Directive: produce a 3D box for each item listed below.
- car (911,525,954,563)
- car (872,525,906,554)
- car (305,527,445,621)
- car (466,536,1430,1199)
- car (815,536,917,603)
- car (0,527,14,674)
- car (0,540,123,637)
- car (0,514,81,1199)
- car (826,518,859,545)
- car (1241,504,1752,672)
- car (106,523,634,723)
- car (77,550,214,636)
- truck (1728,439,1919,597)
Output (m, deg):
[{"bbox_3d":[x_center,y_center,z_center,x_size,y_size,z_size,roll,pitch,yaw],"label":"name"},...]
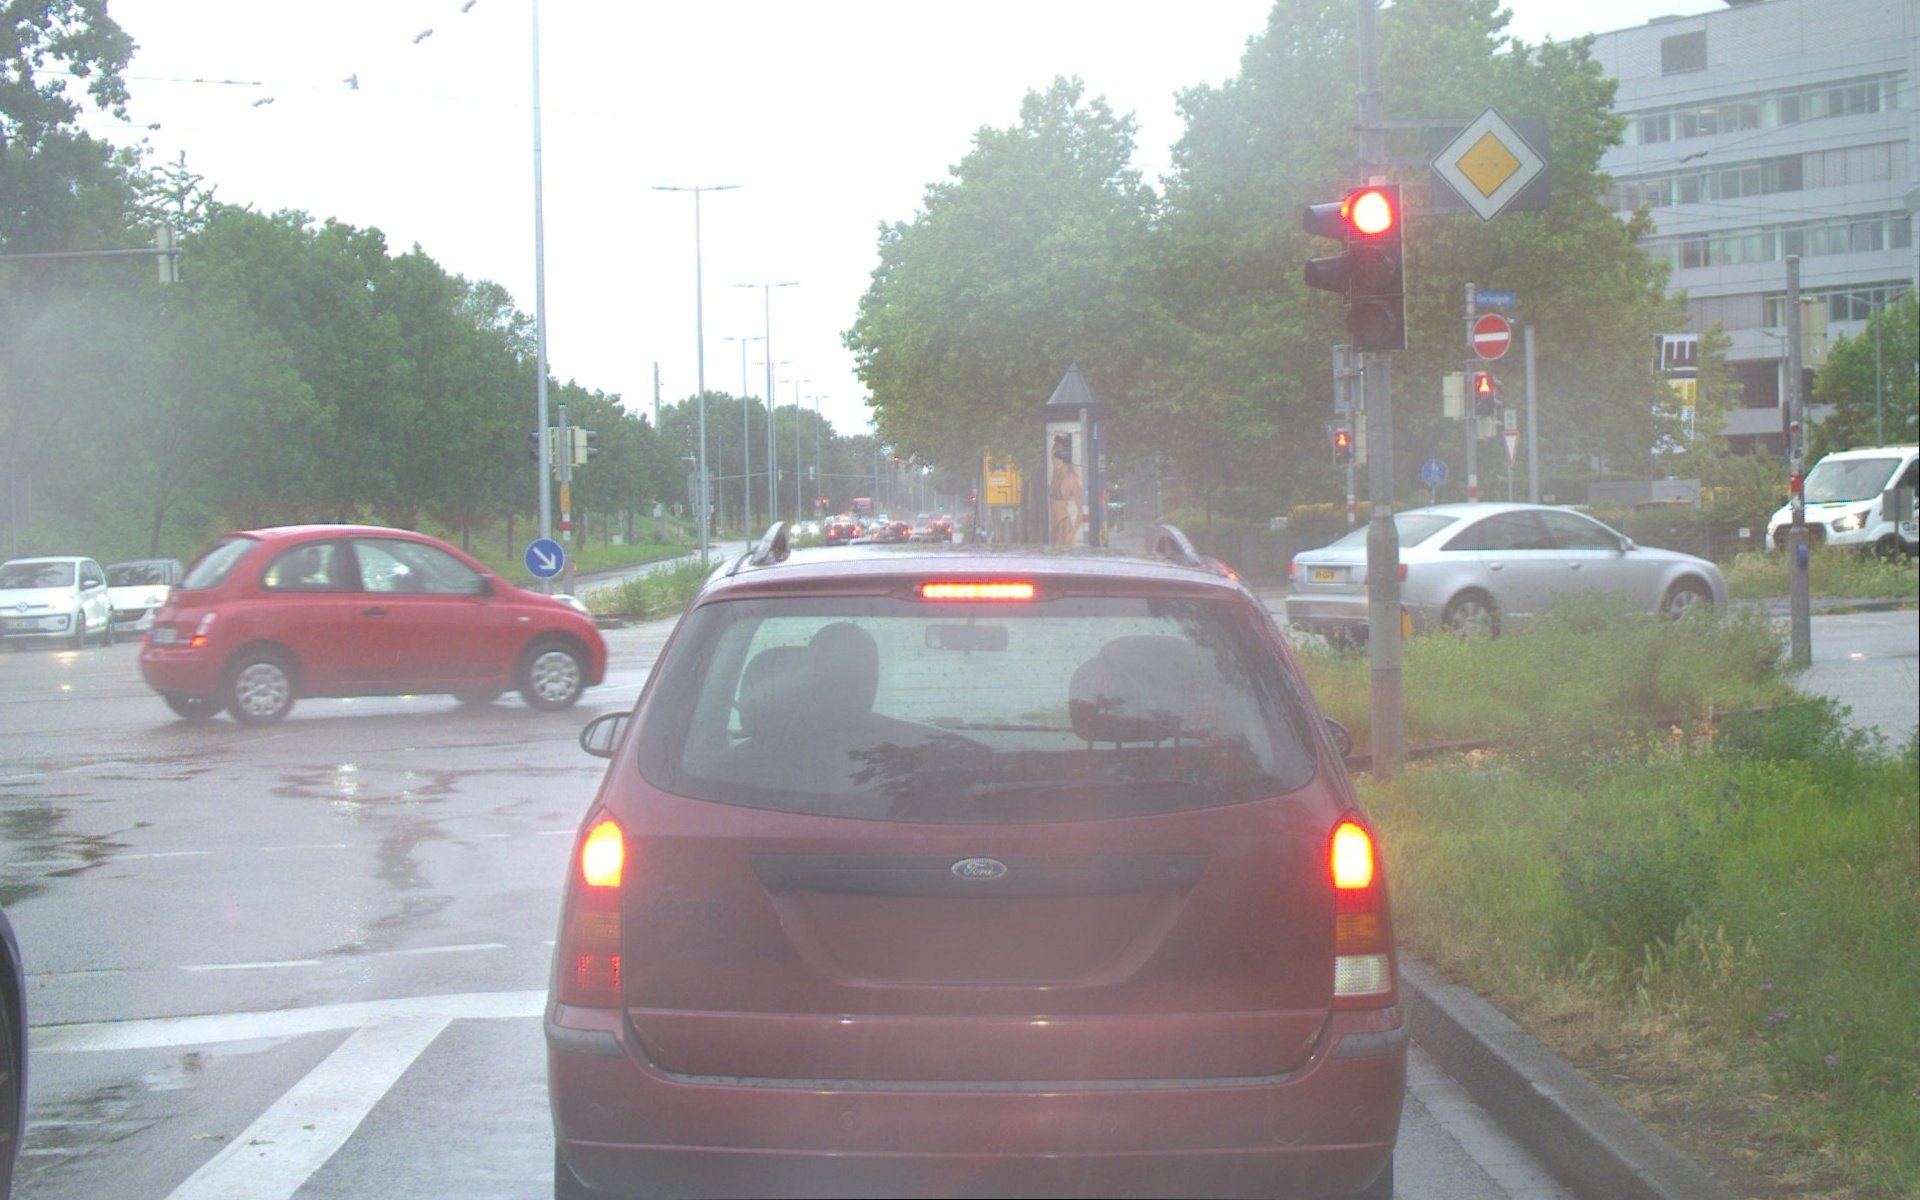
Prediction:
[{"bbox_3d":[-1.135,-2.351,142.836,1.671,1.522,3.846,-1,1,1],"label":"car"},{"bbox_3d":[-3.971,-3.390,192.525,1.698,1.522,3.846,-1,1,1],"label":"car"},{"bbox_3d":[-12.144,-0.582,71.698,2.065,1.813,5.542,-2,1,-2],"label":"car"},{"bbox_3d":[-0.073,0.605,7.781,1.642,1.460,3.733,1,1,-2],"label":"car"},{"bbox_3d":[-2.612,-0.852,94.656,1.993,1.784,4.001,1,1,-13],"label":"car"},{"bbox_3d":[-12.274,0.068,35.900,4.234,1.554,1.746,-2,1,-37],"label":"car"},{"bbox_3d":[-14.638,-0.202,55.116,1.638,1.447,3.788,-2,1,-3],"label":"car"},{"bbox_3d":[-2.690,0.649,4.859,1.769,1.568,4.822,1,1,-2],"label":"car"},{"bbox_3d":[-6.883,-4.031,202.209,1.698,1.522,3.846,-1,1,1],"label":"car"},{"bbox_3d":[5.262,-0.144,33.506,4.814,1.485,1.927,-2,1,-32],"label":"car"},{"bbox_3d":[-4.689,0.142,27.433,3.804,1.485,1.678,-1,1,-30],"label":"car"},{"bbox_3d":[-14.515,-0.153,61.444,1.590,1.399,3.823,-2,1,-2],"label":"car"},{"bbox_3d":[15.366,-1.325,54.166,6.847,2.357,2.482,-2,1,-37],"label":"truck"}]
